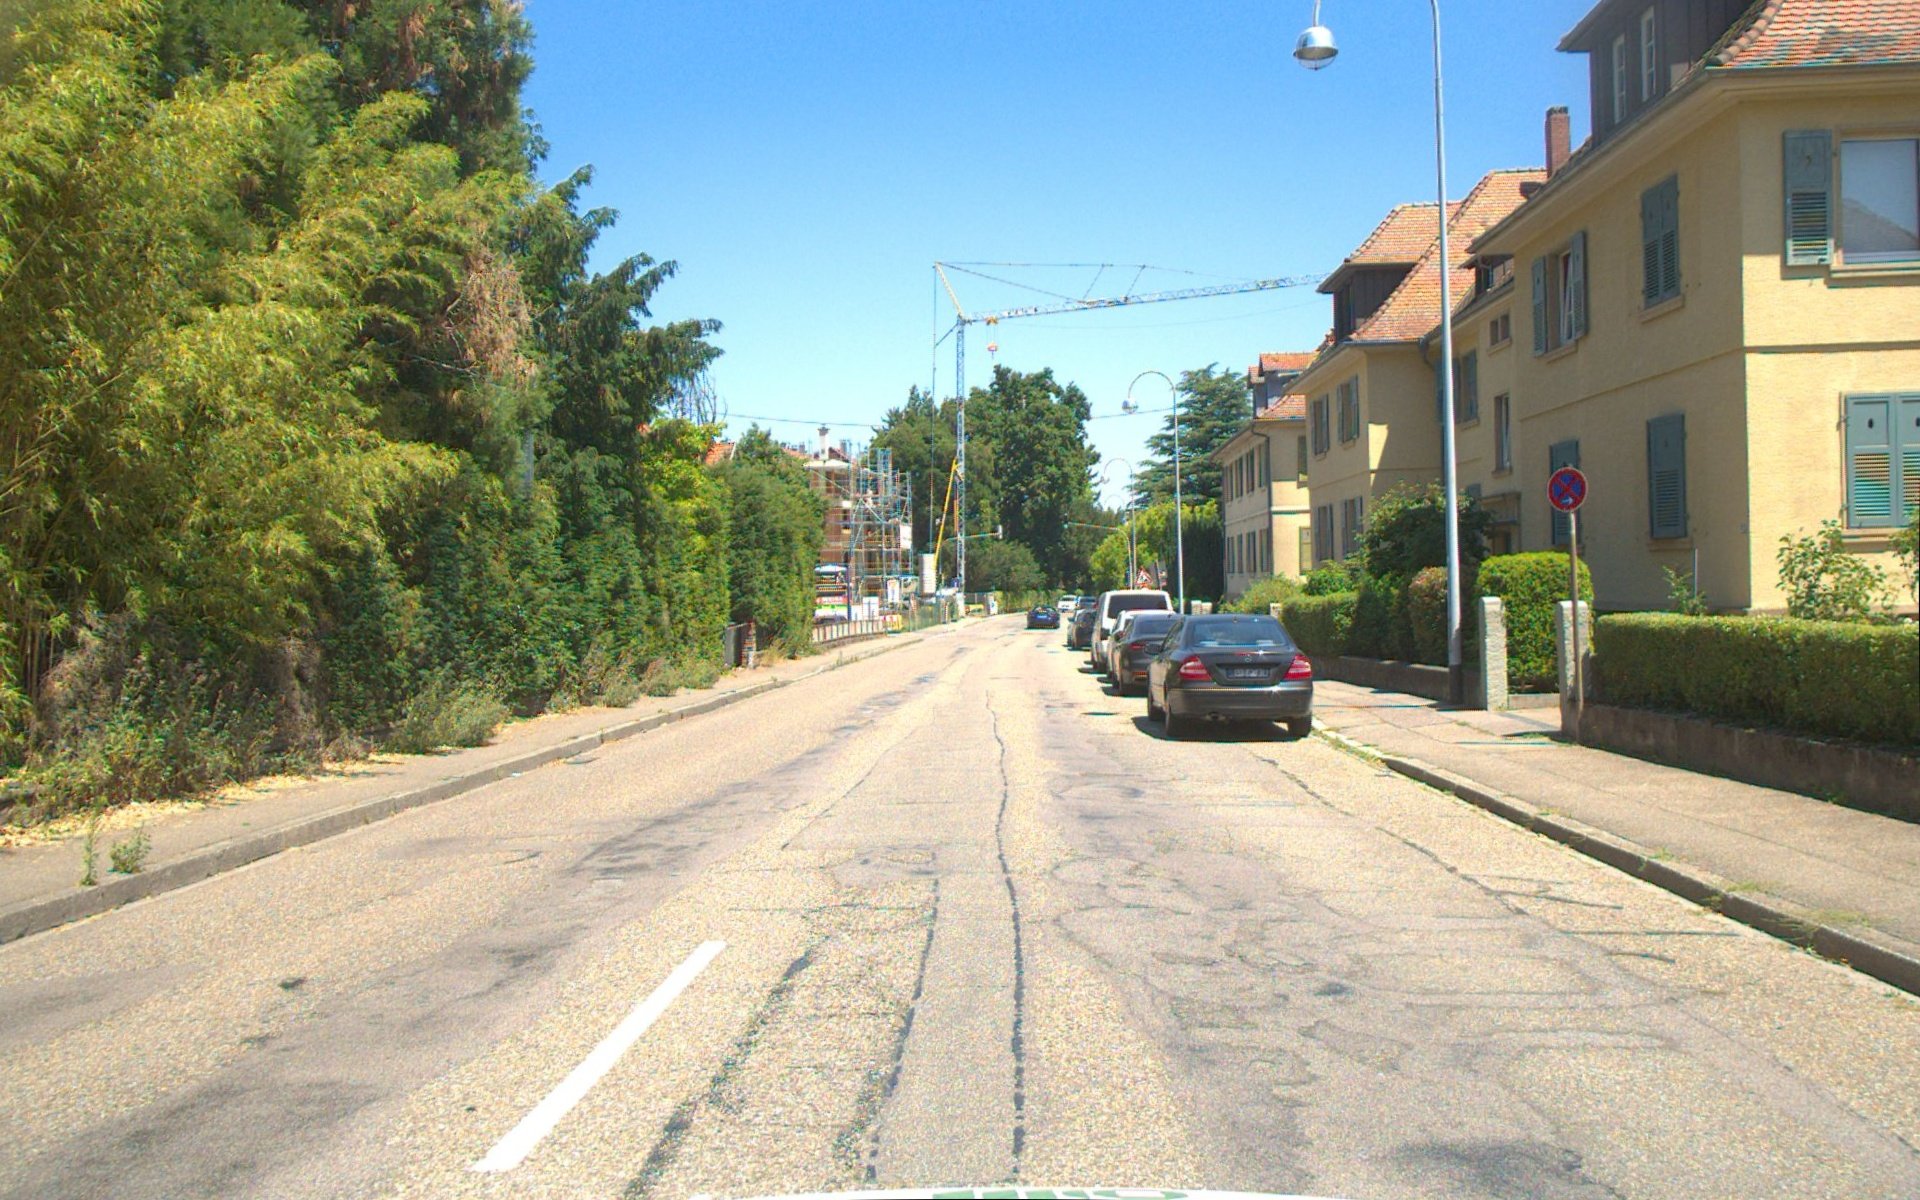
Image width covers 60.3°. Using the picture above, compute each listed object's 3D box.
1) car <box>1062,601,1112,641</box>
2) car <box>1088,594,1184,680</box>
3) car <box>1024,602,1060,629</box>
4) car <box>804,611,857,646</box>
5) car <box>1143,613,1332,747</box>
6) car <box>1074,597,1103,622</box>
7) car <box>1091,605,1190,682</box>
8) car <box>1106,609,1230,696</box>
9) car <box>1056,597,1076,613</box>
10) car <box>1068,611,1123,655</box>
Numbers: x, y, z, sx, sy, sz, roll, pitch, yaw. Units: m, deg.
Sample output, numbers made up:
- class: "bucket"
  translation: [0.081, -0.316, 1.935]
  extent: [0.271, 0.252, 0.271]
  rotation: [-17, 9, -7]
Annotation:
- class: "car"
  translation: [5.035, 0.812, 65.854]
  extent: [1.724, 1.477, 3.890]
  rotation: [-1, 0, 1]
- class: "car"
  translation: [4.215, 0.850, 40.229]
  extent: [1.952, 1.934, 4.824]
  rotation: [1, 0, 2]
- class: "car"
  translation: [4.958, 0.900, 99.502]
  extent: [1.917, 1.494, 4.003]
  rotation: [-1, 0, 6]
- class: "car"
  translation: [-5.765, 1.257, 73.970]
  extent: [1.624, 1.413, 3.537]
  rotation: [-2, 0, 8]
- class: "car"
  translation: [3.311, 0.903, 20.518]
  extent: [1.657, 1.443, 4.551]
  rotation: [-1, -1, 1]
- class: "car"
  translation: [9.307, 0.679, 119.560]
  extent: [1.951, 1.691, 4.003]
  rotation: [-2, 0, 6]
- class: "car"
  translation: [3.740, 0.874, 34.720]
  extent: [1.725, 1.477, 3.649]
  rotation: [-1, 0, 1]
- class: "car"
  translation: [3.661, 0.880, 29.820]
  extent: [1.724, 1.395, 4.608]
  rotation: [-1, 0, 1]
- class: "car"
  translation: [10.182, 0.447, 158.939]
  extent: [1.724, 1.477, 3.842]
  rotation: [-1, 0, 6]
- class: "car"
  translation: [4.900, 1.170, 60.289]
  extent: [1.724, 1.477, 3.840]
  rotation: [-1, 0, 1]
